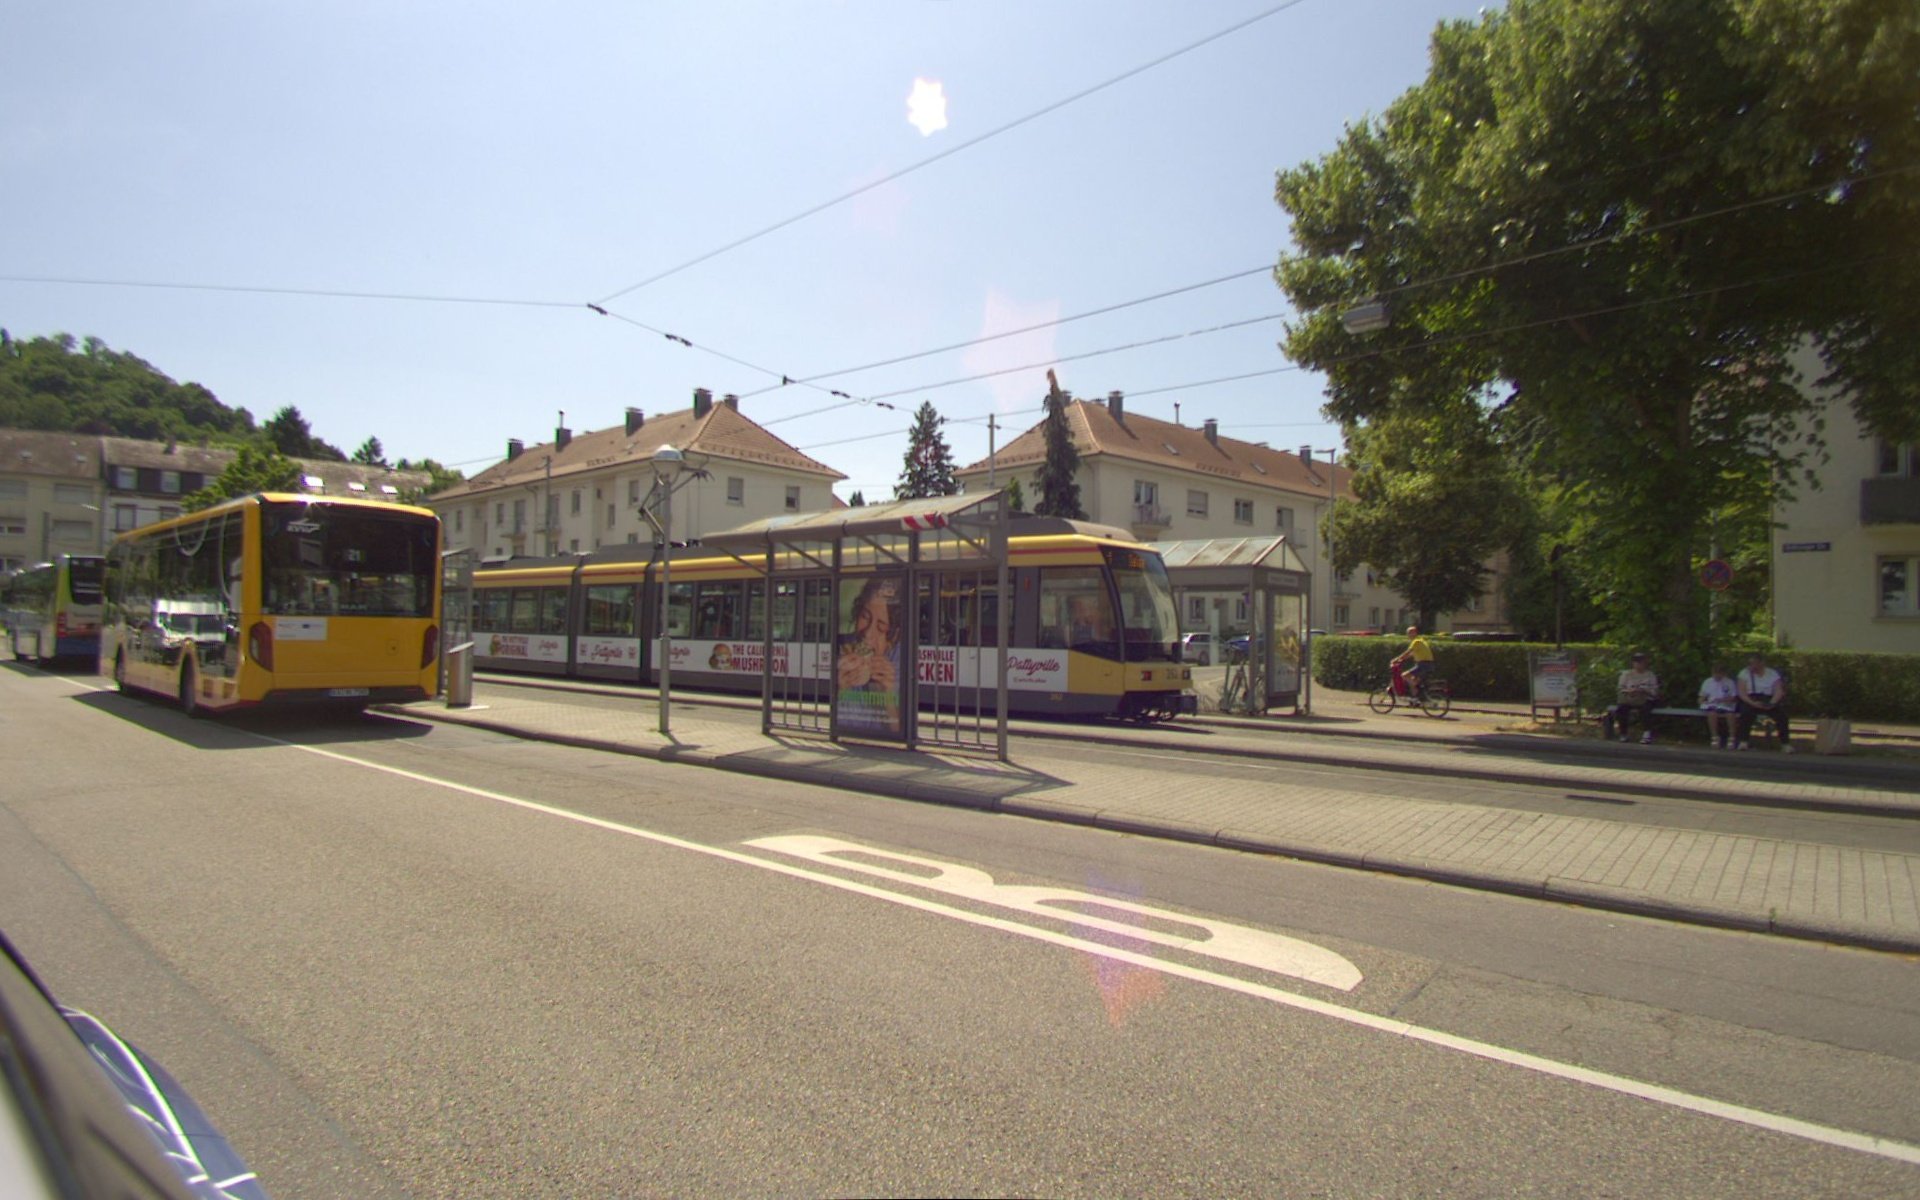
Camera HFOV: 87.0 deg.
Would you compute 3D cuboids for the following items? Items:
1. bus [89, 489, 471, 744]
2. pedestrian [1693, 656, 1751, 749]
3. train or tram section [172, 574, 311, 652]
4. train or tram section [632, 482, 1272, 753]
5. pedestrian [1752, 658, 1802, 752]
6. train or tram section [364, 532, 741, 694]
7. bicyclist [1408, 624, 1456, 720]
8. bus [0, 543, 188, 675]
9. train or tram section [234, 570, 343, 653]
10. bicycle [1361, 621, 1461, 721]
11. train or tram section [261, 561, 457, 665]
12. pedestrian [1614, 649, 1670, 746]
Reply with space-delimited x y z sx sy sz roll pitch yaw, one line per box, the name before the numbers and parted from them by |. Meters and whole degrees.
bus | -12.798 0.151 18.189 12.194 3.272 2.867 1 1 42
pedestrian | 10.128 1.344 13.453 0.540 1.147 0.608 1 0 44
train or tram section | -36.466 0.627 51.064 12.708 3.521 2.932 -1 0 42
train or tram section | -1.284 0.286 19.484 13.989 3.670 2.932 -1 0 42
pedestrian | 10.558 1.340 13.084 0.457 1.147 0.505 1 0 44
train or tram section | -12.892 0.351 29.844 17.346 3.670 2.932 -1 0 42
bicyclist | 9.069 1.362 19.452 0.672 1.756 0.628 1 0 41
bus | -27.238 0.359 31.424 12.034 3.453 2.877 -2 -1 41
train or tram section | -30.145 0.572 45.397 4.416 3.522 2.932 -1 -3 41
bicycle | 8.769 1.338 19.725 1.669 1.827 0.625 1 0 42
train or tram section | -23.911 0.490 39.762 12.652 3.521 2.932 -1 0 42
pedestrian | 9.442 1.331 14.012 0.540 1.260 0.608 1 0 44
